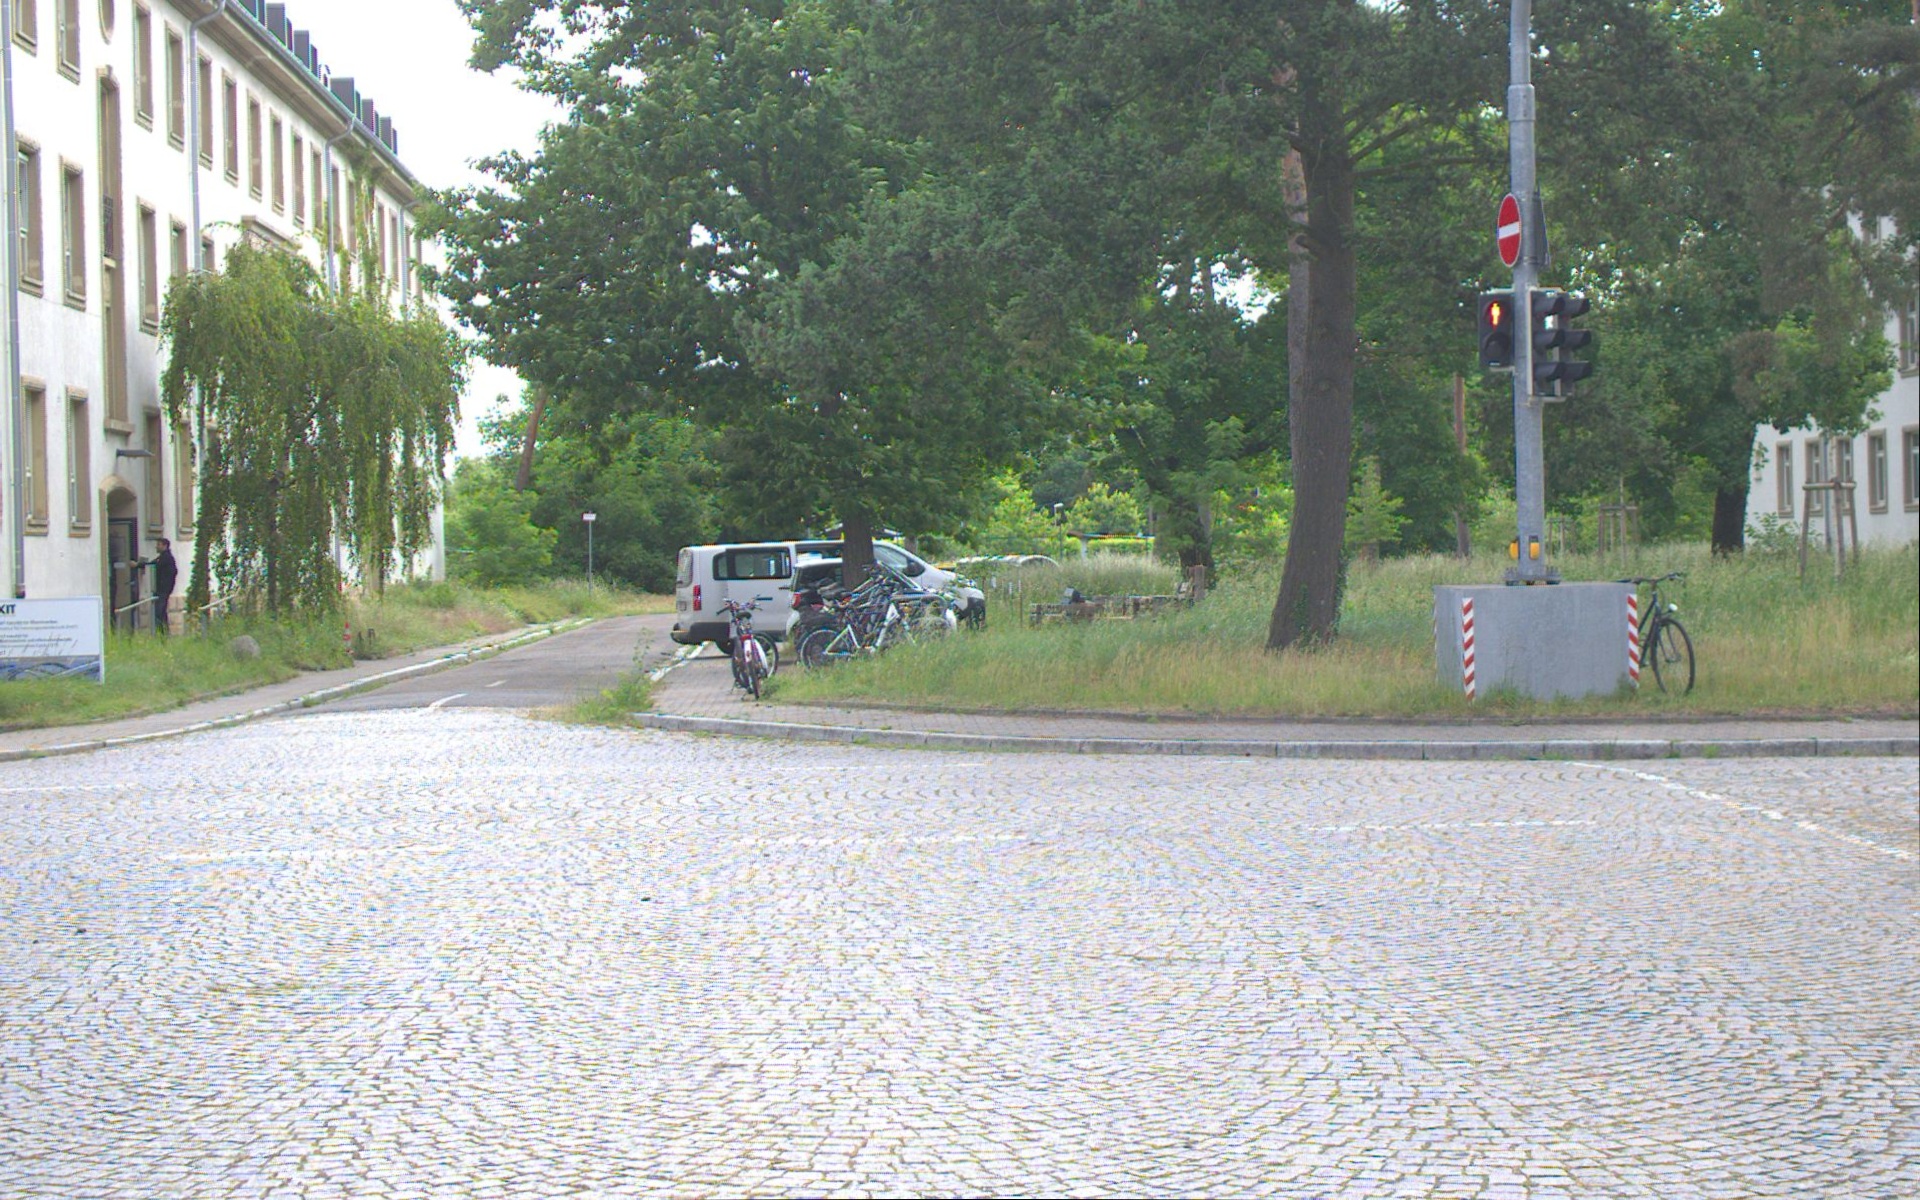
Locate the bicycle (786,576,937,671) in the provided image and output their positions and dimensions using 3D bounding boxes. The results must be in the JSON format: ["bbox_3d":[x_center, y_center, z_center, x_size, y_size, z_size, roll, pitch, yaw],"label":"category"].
[{"bbox_3d":[-1.320,0.308,45.957,1.982,1.243,0.624,0,0,-4],"label":"bicycle"}]

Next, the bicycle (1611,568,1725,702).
[{"bbox_3d":[5.773,0.270,28.100,0.580,0.967,1.678,-3,2,2],"label":"bicycle"}]

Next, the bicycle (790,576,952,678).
[{"bbox_3d":[-1.112,0.328,42.718,1.982,1.243,0.624,0,0,-4],"label":"bicycle"}]

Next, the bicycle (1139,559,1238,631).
[{"bbox_3d":[3.672,-0.083,55.262,1.549,1.121,0.401,-1,0,0],"label":"bicycle"}]

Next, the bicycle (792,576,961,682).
[{"bbox_3d":[-1.001,0.339,40.934,1.982,1.243,0.624,0,0,-4],"label":"bicycle"}]

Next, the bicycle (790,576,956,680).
[{"bbox_3d":[-1.065,0.333,41.859,1.982,1.243,0.624,0,0,-4],"label":"bicycle"}]

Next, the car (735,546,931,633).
[{"bbox_3d":[-2.692,-0.221,72.256,4.031,1.712,1.681,-2,0,-3],"label":"car"}]

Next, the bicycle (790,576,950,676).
[{"bbox_3d":[-1.140,0.324,43.350,1.982,1.243,0.624,0,0,-4],"label":"bicycle"}]

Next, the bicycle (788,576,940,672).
[{"bbox_3d":[-1.277,0.311,45.464,1.982,1.243,0.624,0,0,-4],"label":"bicycle"}]

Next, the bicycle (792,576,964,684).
[{"bbox_3d":[-0.968,0.343,40.306,1.982,1.243,0.624,0,0,-4],"label":"bicycle"}]

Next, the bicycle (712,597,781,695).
[{"bbox_3d":[-2.403,0.507,38.837,0.622,1.079,1.677,0,0,2],"label":"bicycle"}]

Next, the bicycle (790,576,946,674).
[{"bbox_3d":[-1.192,0.318,44.322,1.982,1.243,0.624,0,0,-4],"label":"bicycle"}]

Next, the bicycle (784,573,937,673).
[{"bbox_3d":[-1.356,0.304,46.615,1.982,1.243,0.624,-3,0,-4],"label":"bicycle"}]

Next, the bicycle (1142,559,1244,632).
[{"bbox_3d":[3.660,-0.073,54.029,1.549,1.121,0.401,-1,0,0],"label":"bicycle"}]

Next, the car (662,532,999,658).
[{"bbox_3d":[-2.212,-0.107,58.375,5.303,1.909,2.150,-2,1,-17],"label":"car"}]

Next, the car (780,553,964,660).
[{"bbox_3d":[-1.421,0.089,54.924,2.847,1.552,1.472,-2,2,-3],"label":"car"}]

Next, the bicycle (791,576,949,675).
[{"bbox_3d":[-1.152,0.321,43.875,1.982,1.243,0.624,0,0,-4],"label":"bicycle"}]

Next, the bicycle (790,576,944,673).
[{"bbox_3d":[-1.227,0.314,44.952,1.982,1.243,0.624,0,0,-4],"label":"bicycle"}]

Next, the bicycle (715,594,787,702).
[{"bbox_3d":[-2.232,0.503,36.887,0.622,1.110,1.989,0,0,1],"label":"bicycle"}]

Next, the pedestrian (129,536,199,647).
[{"bbox_3d":[-12.922,-0.146,55.827,0.837,1.775,0.941,-1,1,3],"label":"pedestrian"}]
